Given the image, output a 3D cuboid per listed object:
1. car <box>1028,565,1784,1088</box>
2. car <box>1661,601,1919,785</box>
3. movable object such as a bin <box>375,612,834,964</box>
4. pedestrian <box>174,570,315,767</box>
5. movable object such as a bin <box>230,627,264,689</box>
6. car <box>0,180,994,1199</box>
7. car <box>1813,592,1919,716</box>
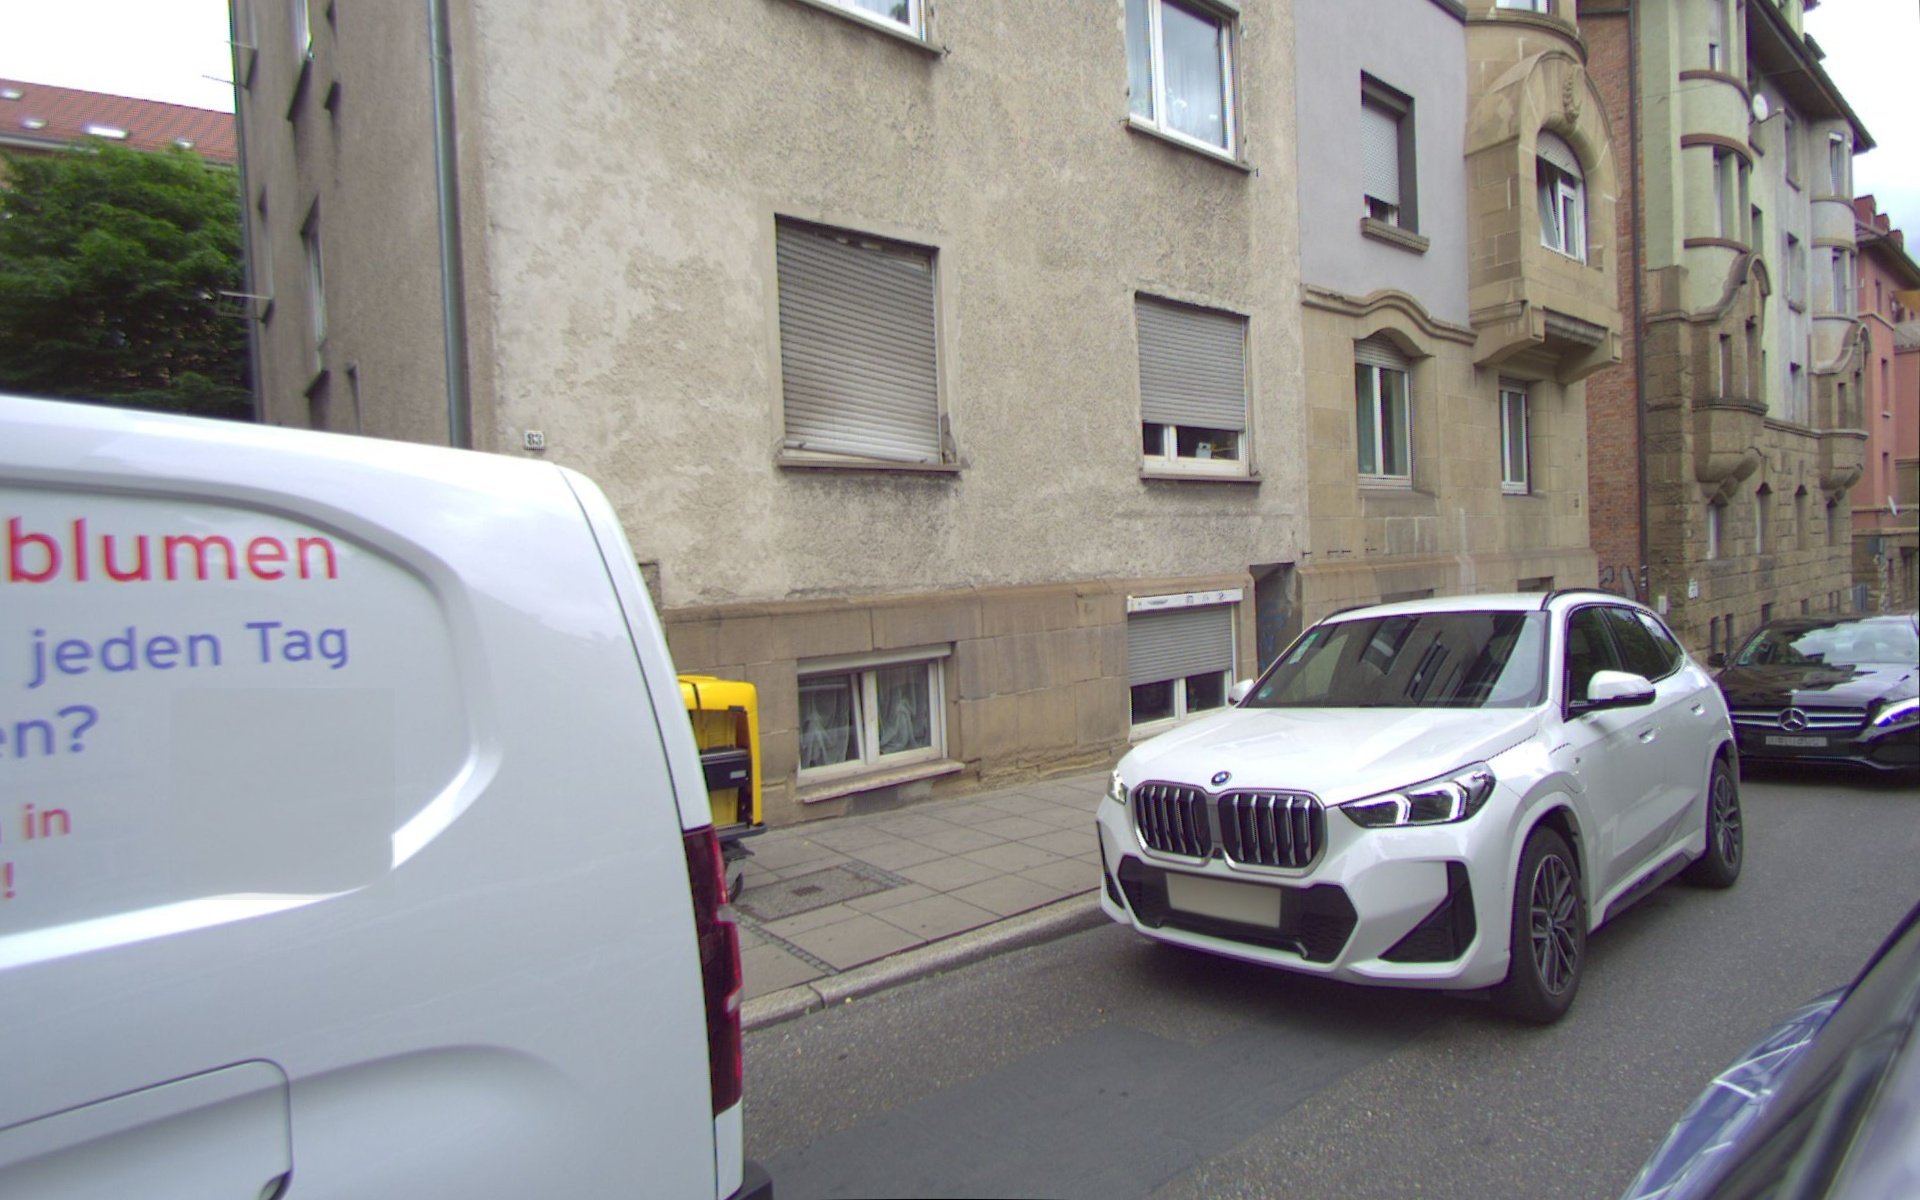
[{"bbox_3d":[2.545,0.723,5.207,4.276,1.576,1.857,-1,-4,-42],"label":"car"},{"bbox_3d":[8.469,0.746,9.656,4.133,1.395,1.882,-1,-3,-41],"label":"car"},{"bbox_3d":[-1.830,0.797,5.343,1.979,1.391,1.223,-1,2,-43],"label":"movable object such as a bin"},{"bbox_3d":[-6.606,0.589,9.348,0.808,1.666,0.773,0,6,42],"label":"pedestrian"},{"bbox_3d":[-10.984,0.887,15.591,0.405,0.923,0.340,0,0,-40],"label":"movable object such as a bin"},{"bbox_3d":[-2.311,0.571,0.911,4.597,1.798,1.977,-1,-3,-42],"label":"car"},{"bbox_3d":[13.573,0.650,13.985,4.226,1.534,1.935,-1,-3,-40],"label":"car"}]
